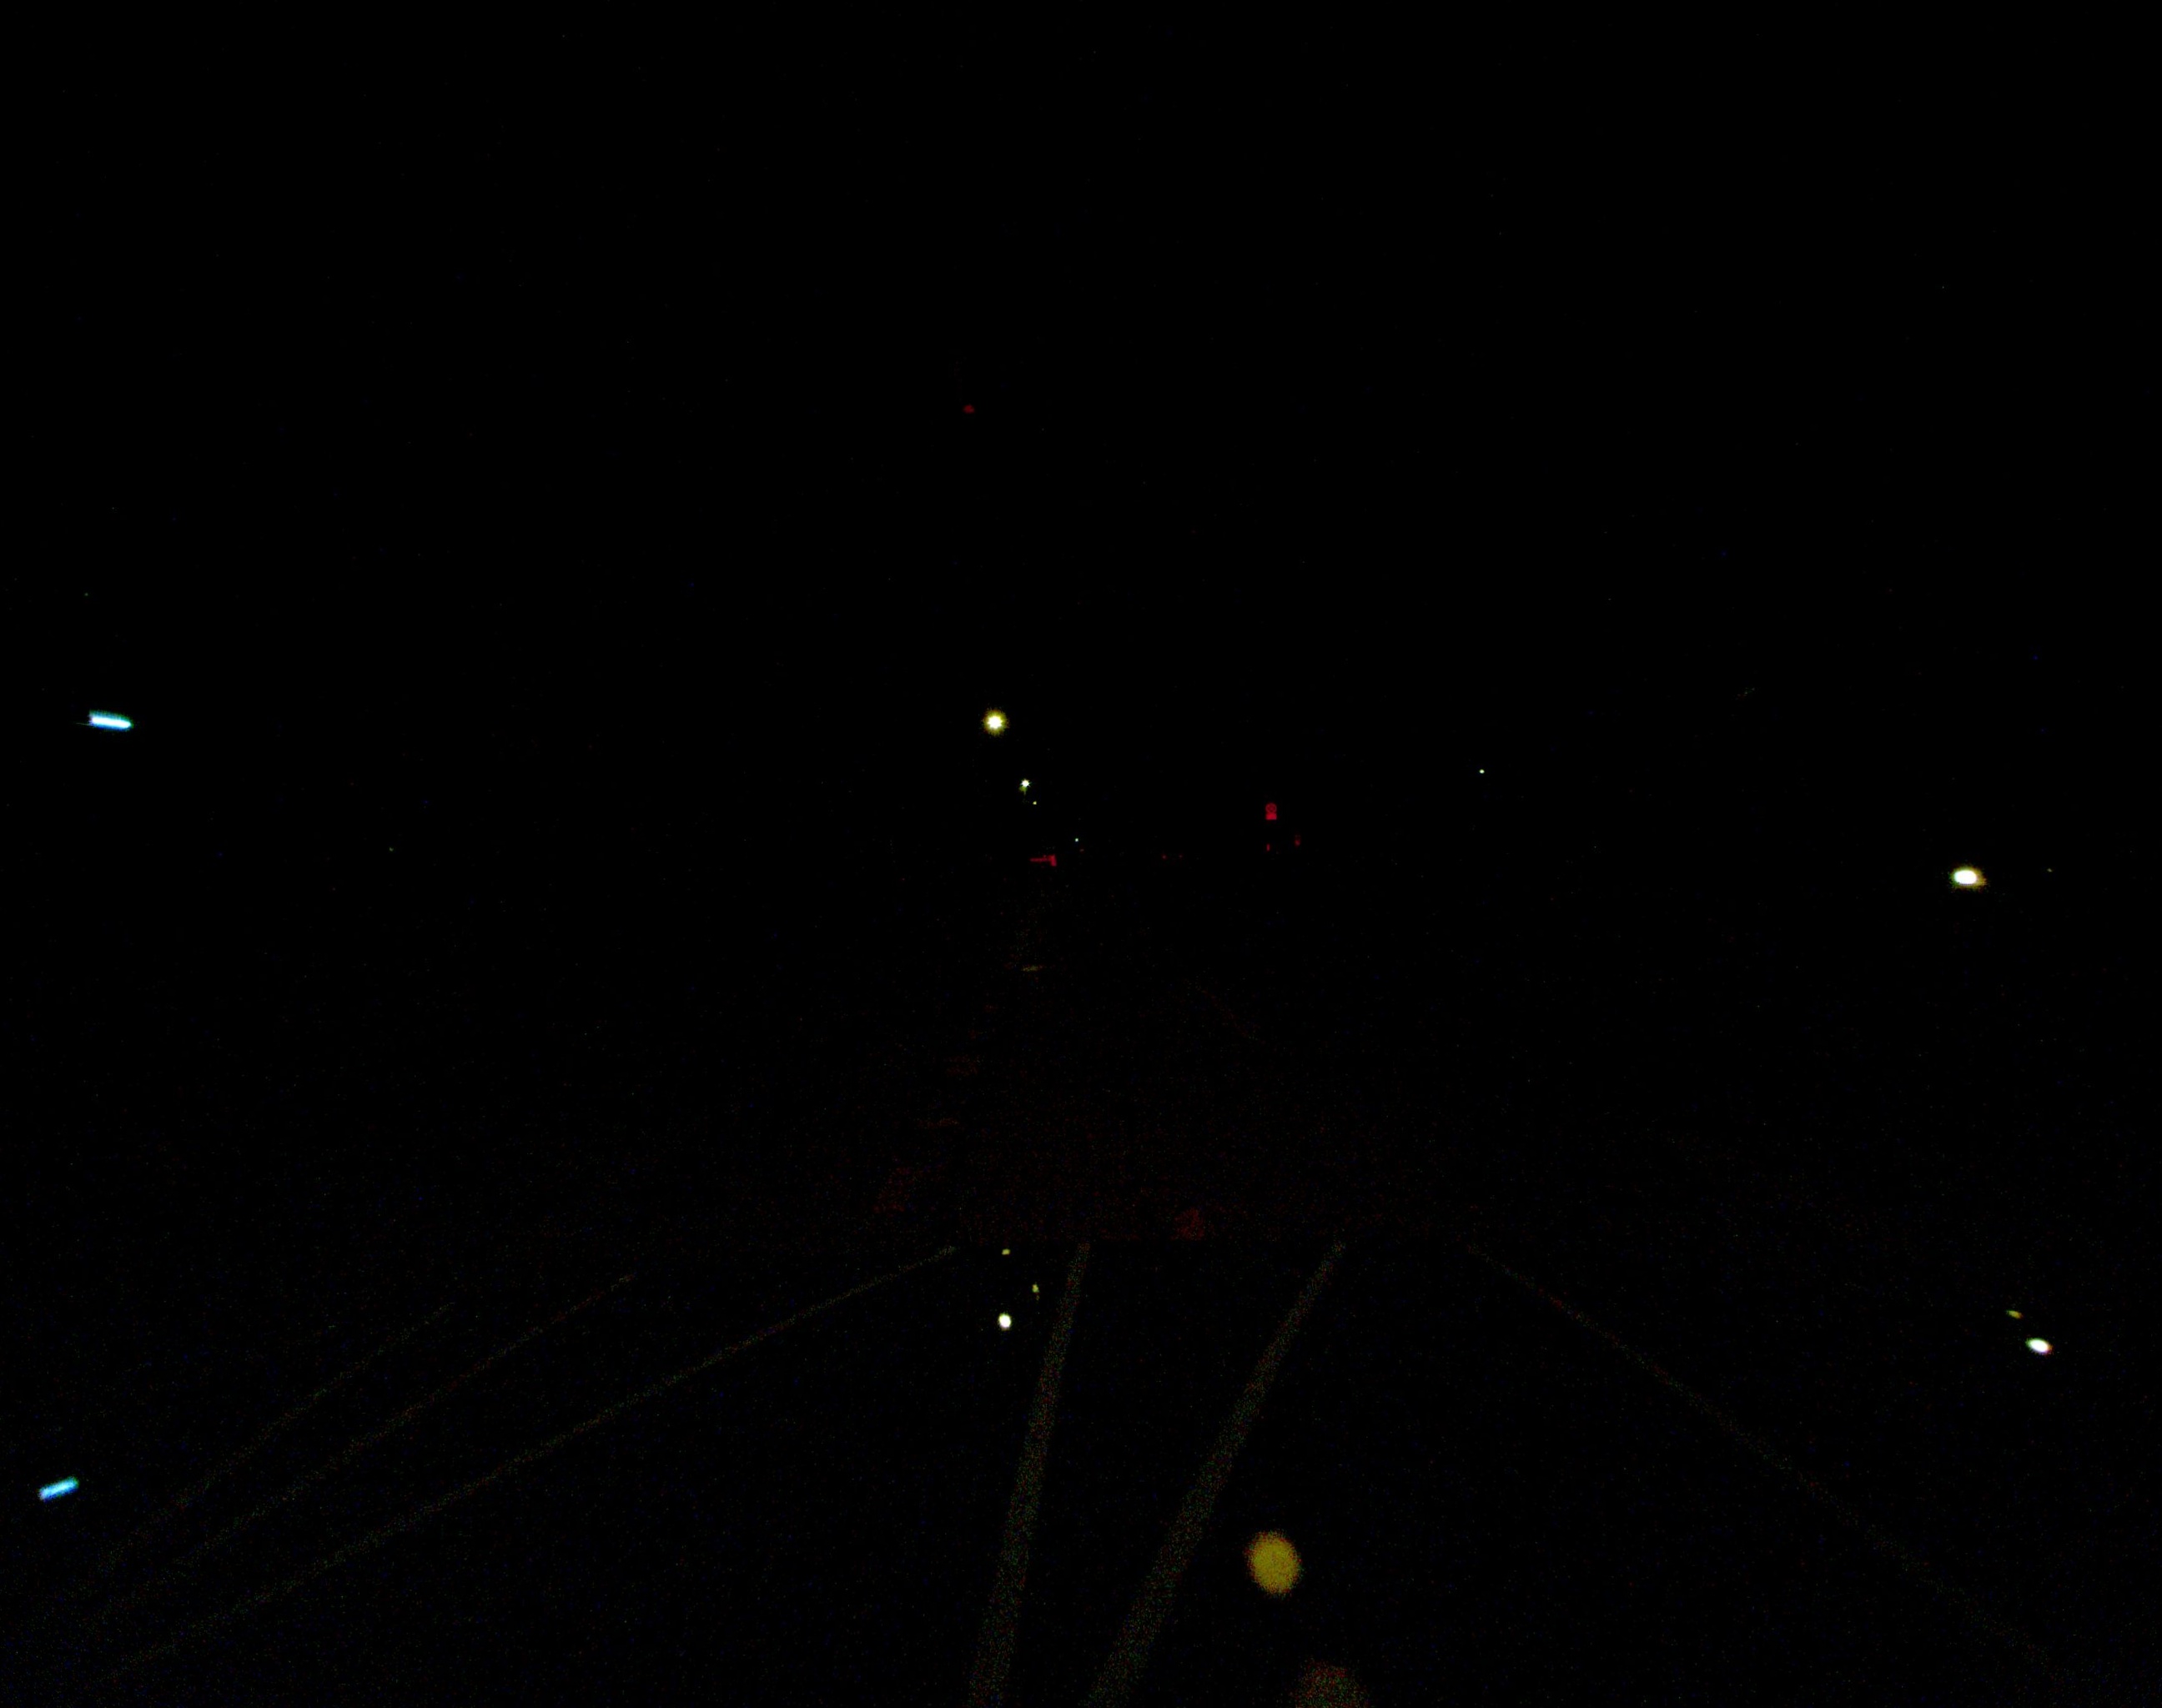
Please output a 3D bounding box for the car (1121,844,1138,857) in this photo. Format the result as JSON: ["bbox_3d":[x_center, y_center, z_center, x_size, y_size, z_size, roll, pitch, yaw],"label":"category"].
[{"bbox_3d":[6.369,-0.508,100.472,1.911,1.445,3.999,-3,2,1],"label":"car"}]

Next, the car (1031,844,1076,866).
[{"bbox_3d":[-2.561,0.083,70.742,3.997,1.820,1.913,-3,0,0],"label":"car"}]

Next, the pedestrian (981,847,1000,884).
[{"bbox_3d":[-4.624,0.574,38.840,0.824,1.809,0.608,-3,2,1],"label":"pedestrian"}]

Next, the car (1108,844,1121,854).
[{"bbox_3d":[5.140,-0.772,116.615,1.911,1.445,3.999,-3,2,1],"label":"car"}]

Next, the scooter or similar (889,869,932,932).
[{"bbox_3d":[-3.639,0.971,16.299,0.570,1.271,1.391,0,0,0],"label":"scooter or similar"}]

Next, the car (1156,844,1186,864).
[{"bbox_3d":[7.210,-0.027,61.038,1.911,1.445,3.999,-3,2,1],"label":"car"}]
